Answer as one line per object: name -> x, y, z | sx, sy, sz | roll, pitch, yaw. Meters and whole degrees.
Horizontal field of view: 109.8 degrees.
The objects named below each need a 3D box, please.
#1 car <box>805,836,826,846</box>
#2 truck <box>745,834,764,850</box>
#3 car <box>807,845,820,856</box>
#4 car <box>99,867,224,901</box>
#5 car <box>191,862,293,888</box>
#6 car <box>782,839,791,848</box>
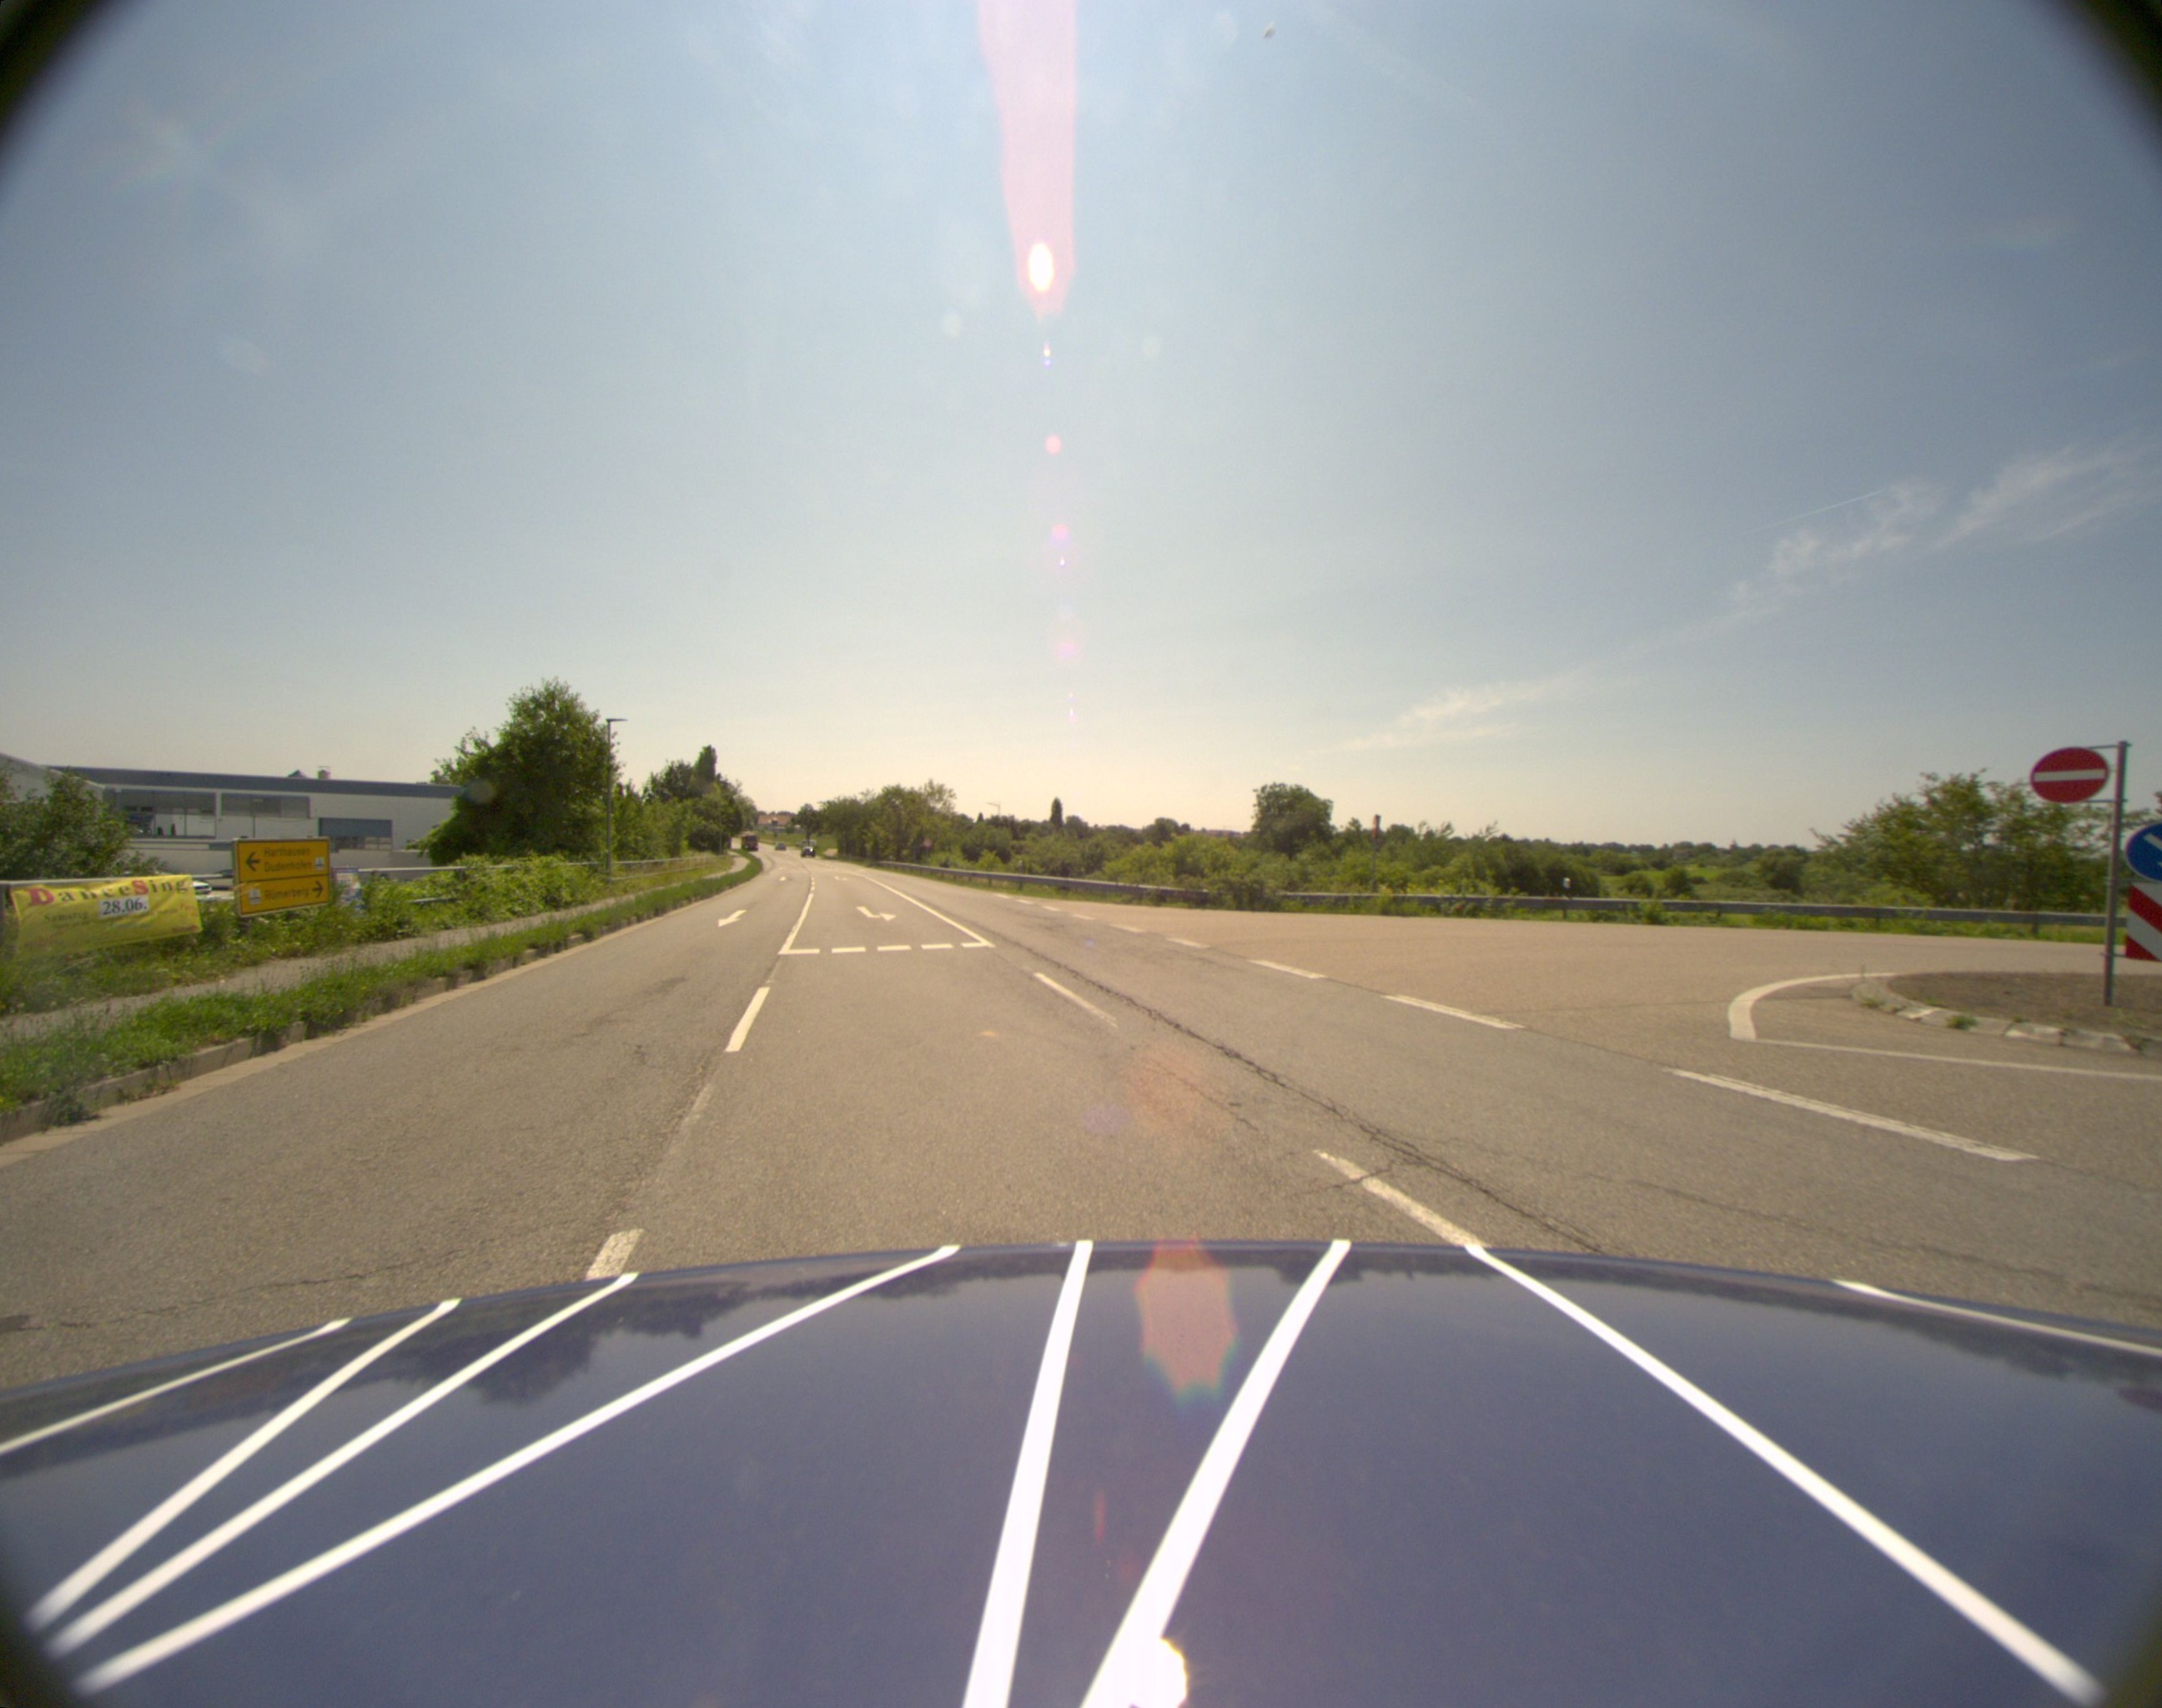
car -> -59.247, -2.912, 169.514 | 4.420, 2.002, 1.839 | 0, 1, -21
truck -> -61.162, -2.306, 142.269 | 2.867, 2.771, 6.941 | 0, 1, -27
car -> -41.277, -0.543, 117.272 | 1.800, 1.574, 4.482 | 0, 0, -21
car -> -51.655, 1.690, 42.791 | 4.147, 1.715, 1.726 | 1, 3, -20
car -> -54.793, 1.363, 49.706 | 4.078, 1.564, 1.726 | 1, 3, -20
car -> -57.080, -2.013, 147.186 | 1.528, 1.564, 3.662 | 0, 0, -19
